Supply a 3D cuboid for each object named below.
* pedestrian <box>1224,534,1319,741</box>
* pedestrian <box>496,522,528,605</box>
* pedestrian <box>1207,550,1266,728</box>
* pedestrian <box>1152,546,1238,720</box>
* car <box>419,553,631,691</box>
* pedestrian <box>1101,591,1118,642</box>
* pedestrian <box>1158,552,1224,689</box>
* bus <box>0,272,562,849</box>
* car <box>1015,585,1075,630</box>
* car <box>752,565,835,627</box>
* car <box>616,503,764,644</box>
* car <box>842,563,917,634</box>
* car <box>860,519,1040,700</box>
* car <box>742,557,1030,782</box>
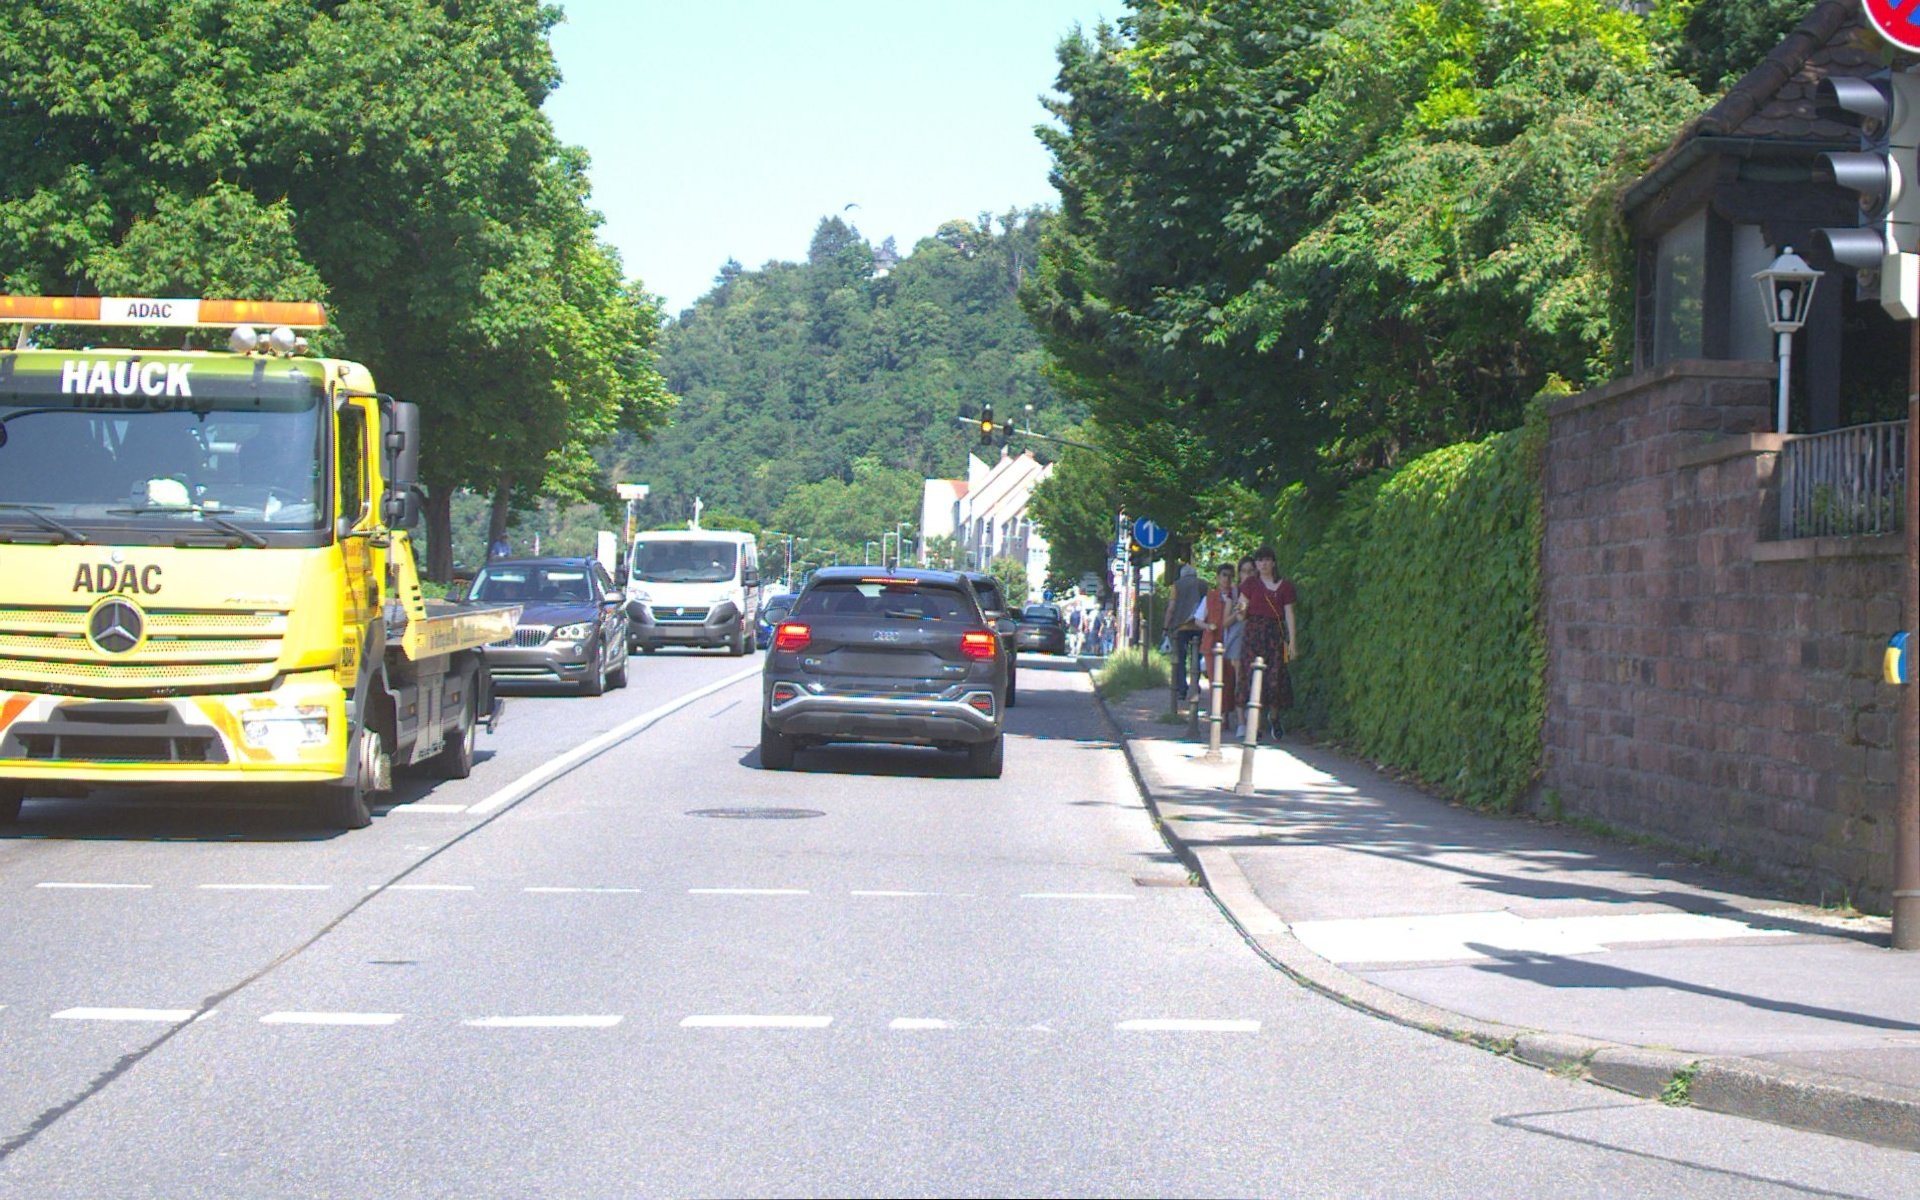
[{"bbox_3d":[2.689,0.313,29.778,0.681,1.736,0.913,2,2,0],"label":"pedestrian"},{"bbox_3d":[-11.031,-0.903,84.624,0.640,2.007,0.730,1,-1,1],"label":"pedestrian"},{"bbox_3d":[2.512,0.349,31.262,0.455,1.600,0.579,1,0,0],"label":"pedestrian"},{"bbox_3d":[2.254,0.306,33.078,0.735,1.628,0.920,1,1,0],"label":"pedestrian"},{"bbox_3d":[-4.788,0.204,38.360,1.815,1.393,4.347,1,1,0],"label":"car"},{"bbox_3d":[4.610,0.514,105.849,0.489,1.554,0.461,1,-1,1],"label":"pedestrian"},{"bbox_3d":[2.810,0.247,41.894,0.728,1.644,0.882,-1,0,1],"label":"pedestrian"},{"bbox_3d":[-4.374,-0.222,21.749,2.597,2.887,8.447,2,0,0],"label":"bus"},{"bbox_3d":[2.929,0.271,119.428,1.993,1.448,4.008,1,-1,1],"label":"car"},{"bbox_3d":[-4.260,-0.080,88.570,1.899,1.484,3.795,1,-1,0],"label":"car"},{"bbox_3d":[-4.654,-0.499,60.110,2.096,2.294,5.869,1,1,0],"label":"car"},{"bbox_3d":[-2.922,-0.020,126.390,2.494,2.458,5.619,1,-1,1],"label":"car"},{"bbox_3d":[-0.132,0.086,40.898,1.993,2.007,4.000,1,0,0],"label":"car"},{"bbox_3d":[-0.485,0.500,26.291,1.857,1.518,3.999,2,0,3],"label":"car"}]
